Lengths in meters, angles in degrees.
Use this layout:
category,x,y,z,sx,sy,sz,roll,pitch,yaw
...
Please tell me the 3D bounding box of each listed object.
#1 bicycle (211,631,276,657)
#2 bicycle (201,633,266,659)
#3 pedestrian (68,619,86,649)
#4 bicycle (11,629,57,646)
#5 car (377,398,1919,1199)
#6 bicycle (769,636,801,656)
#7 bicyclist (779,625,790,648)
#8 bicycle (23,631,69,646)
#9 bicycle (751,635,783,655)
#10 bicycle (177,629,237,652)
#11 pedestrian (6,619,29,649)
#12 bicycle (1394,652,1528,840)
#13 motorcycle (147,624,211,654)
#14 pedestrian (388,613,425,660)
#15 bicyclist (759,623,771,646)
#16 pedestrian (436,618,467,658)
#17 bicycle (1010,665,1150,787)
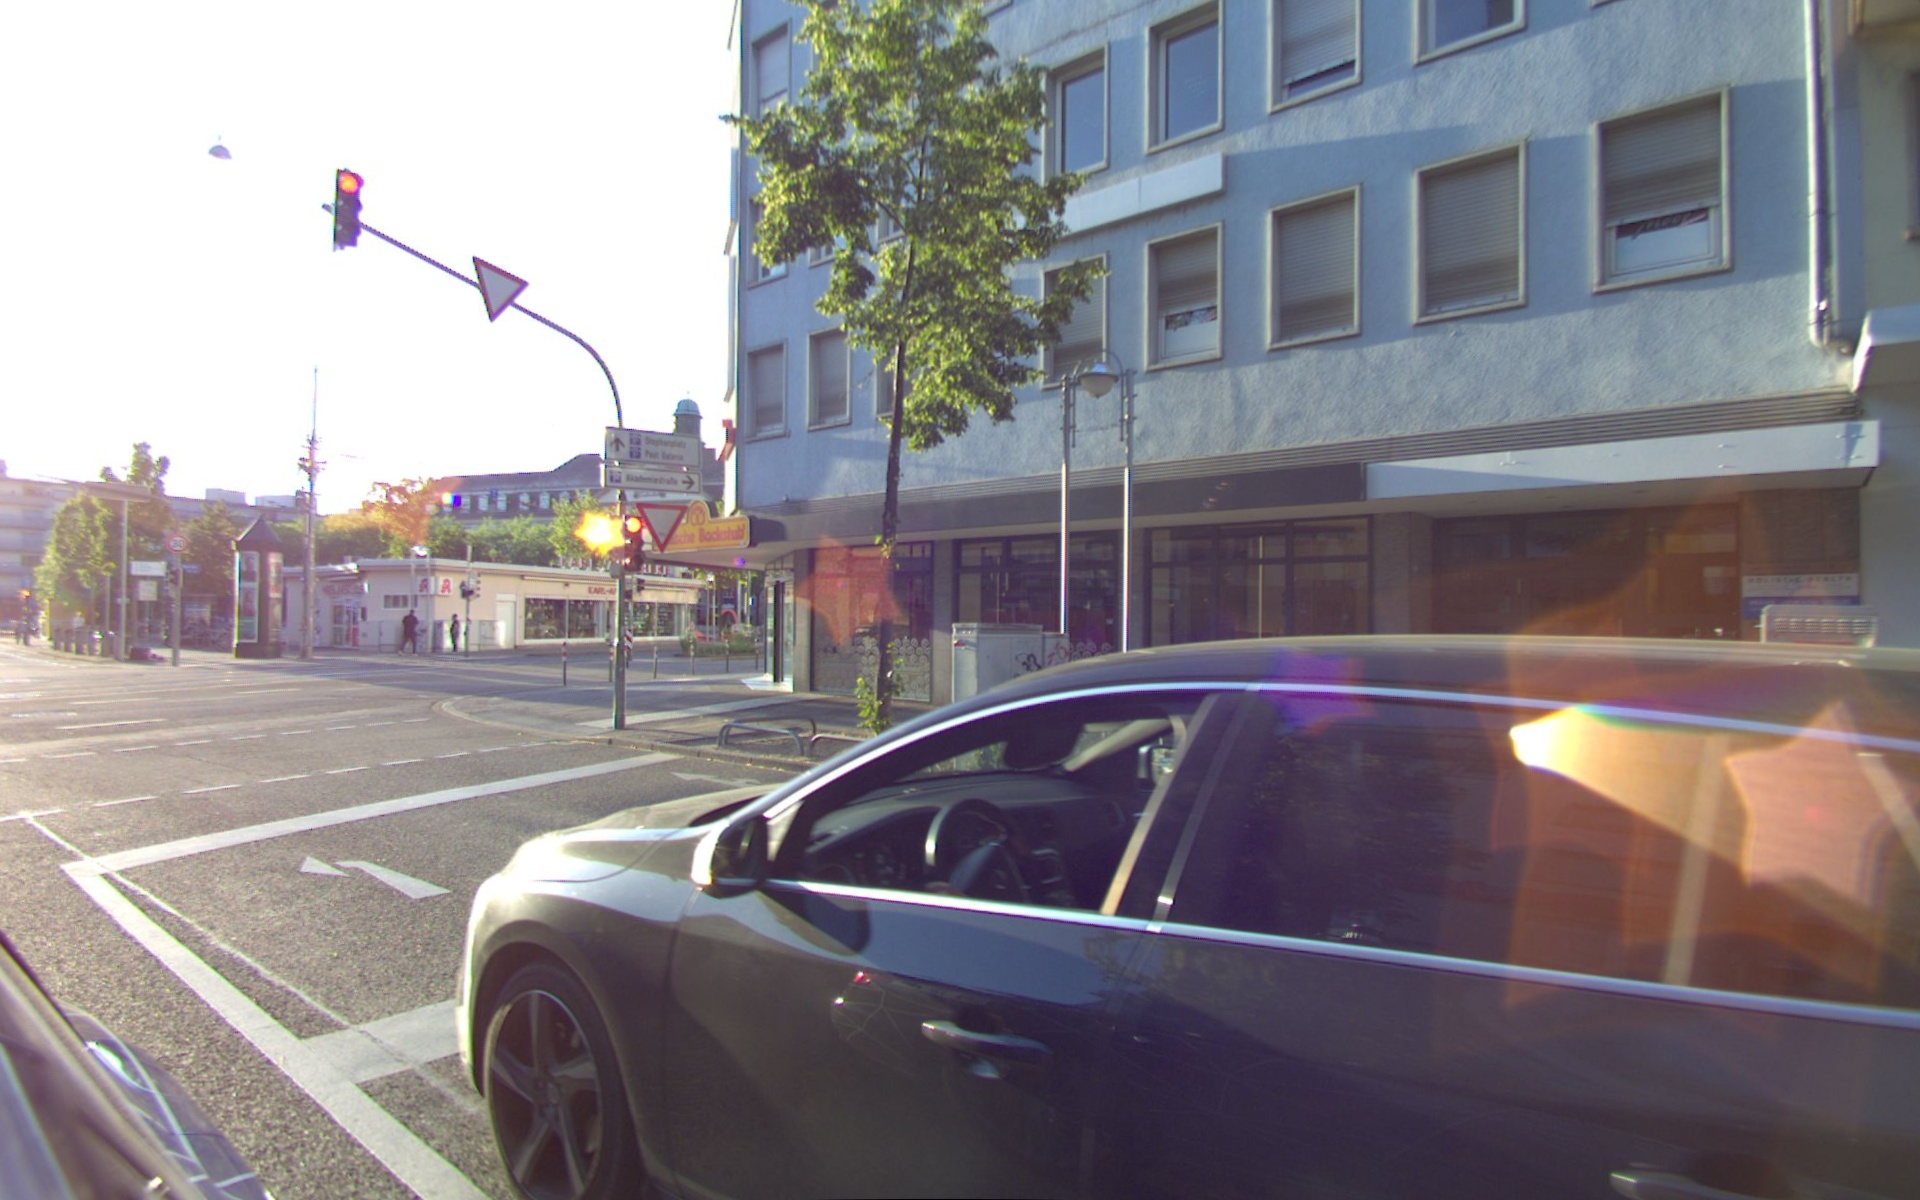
category,x,y,z,sx,sy,sz,roll,pitch,yaw
bicycle,-31.302,1.893,44.256,0.777,1.096,2.171,0,-2,34
bicycle,-32.224,2.032,44.899,0.777,1.096,2.196,0,-1,34
pedestrian,-50.791,1.934,58.205,0.767,1.689,0.908,0,0,-42
bicycle,-64.576,2.599,70.576,2.365,1.079,0.673,0,0,-43
car,0.698,0.651,2.247,4.504,1.559,1.939,-2,-3,39
bicycle,-13.636,3.576,78.980,2.377,1.497,0.618,0,0,-31
bicyclist,-13.689,2.837,79.066,0.644,1.724,0.623,0,0,-30
bicycle,-62.325,2.640,69.031,2.365,0.966,0.673,0,0,-43
bicycle,-15.338,3.569,80.309,2.457,1.497,0.596,0,0,-31
bicycle,-35.791,1.929,48.105,0.779,1.096,2.153,0,-2,40
pedestrian,-54.128,1.952,58.147,0.892,1.689,0.781,0,0,-38
bicycle,4.022,1.075,8.045,0.491,1.228,1.989,0,0,40
motorcycle,-38.500,1.912,49.922,2.416,1.376,0.780,0,-1,-44
pedestrian,-21.406,1.404,39.129,0.874,1.798,0.901,0,0,19
bicyclist,-15.462,2.728,80.223,0.776,1.733,0.596,0,0,-30
pedestrian,-21.467,1.596,42.721,0.895,1.689,0.778,0,0,6
bicycle,1.260,1.212,10.216,0.490,0.999,1.991,0,0,36
